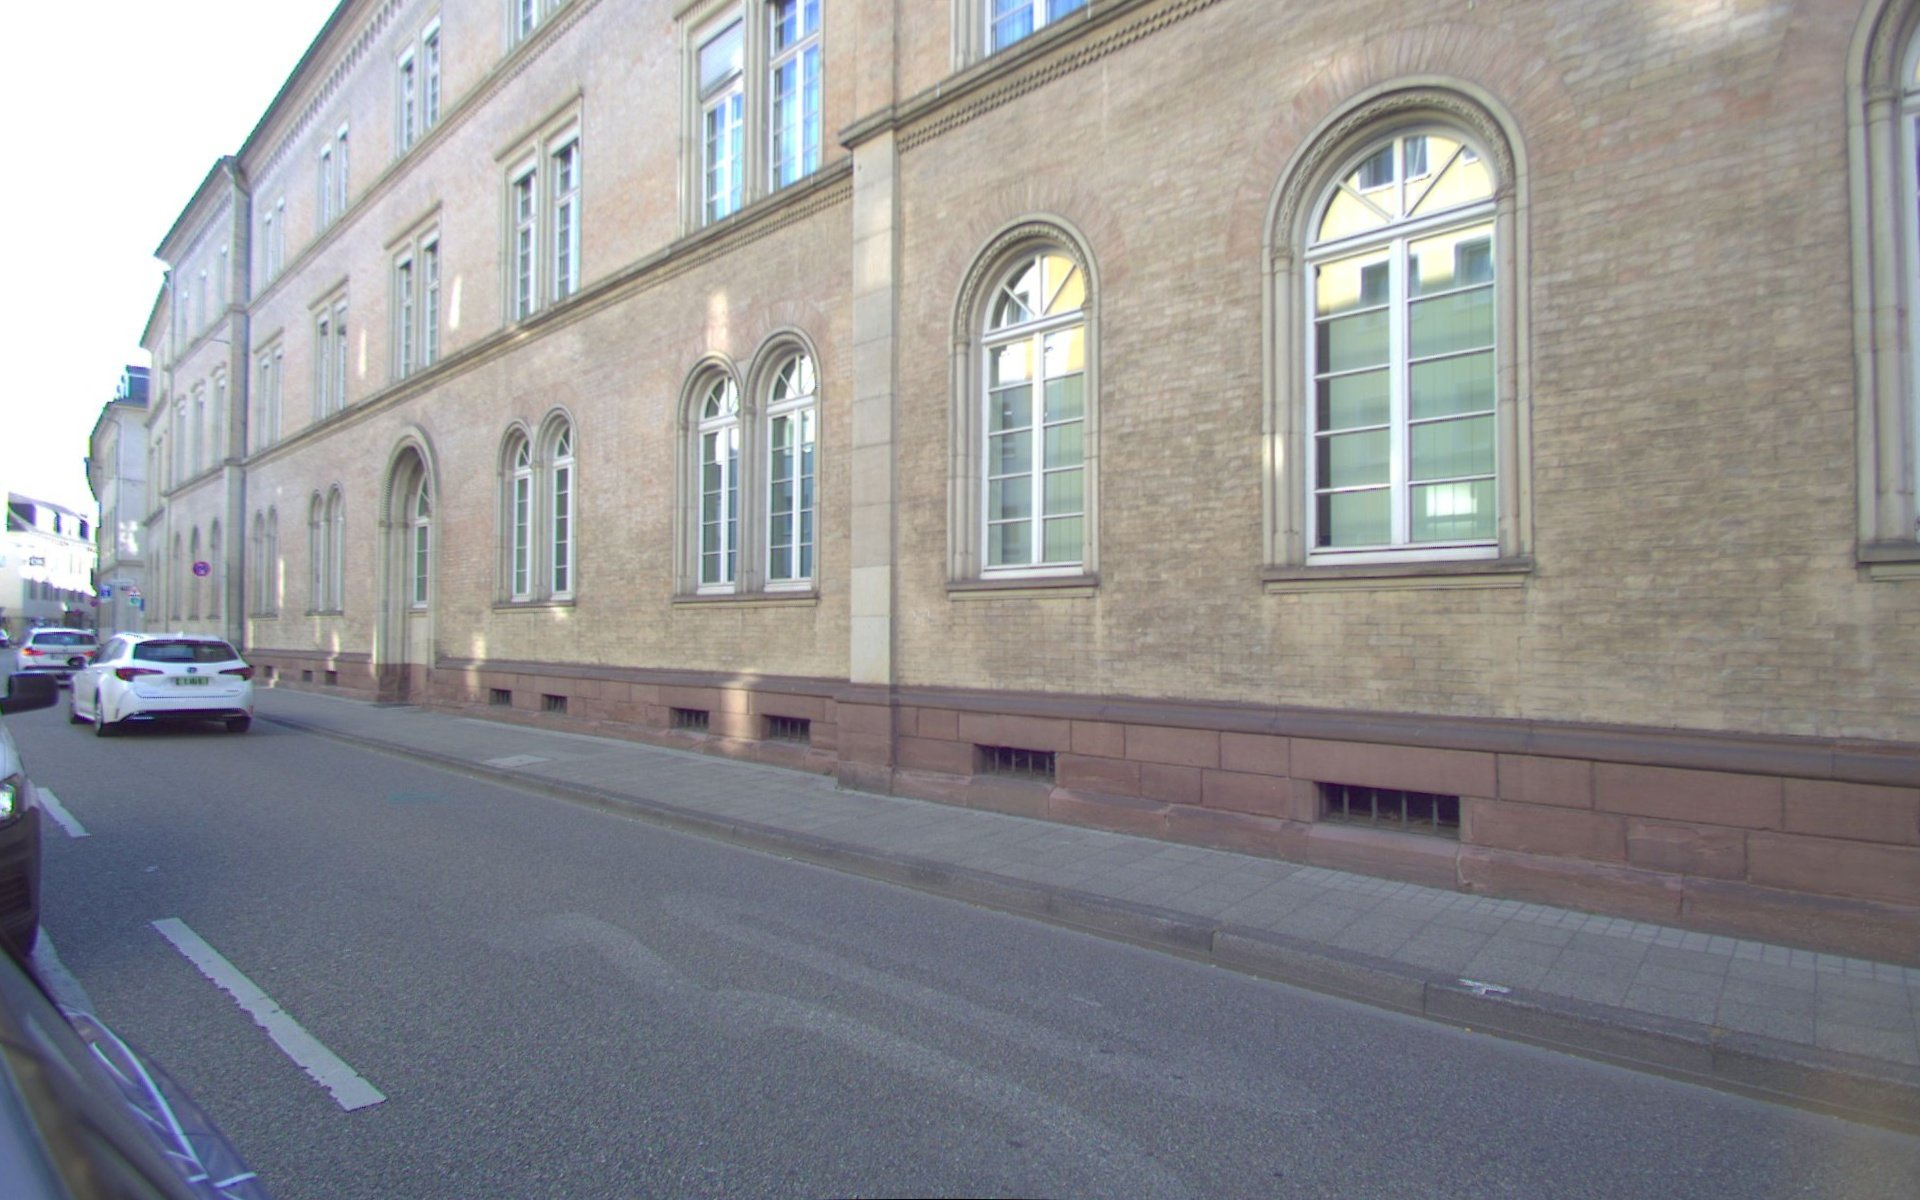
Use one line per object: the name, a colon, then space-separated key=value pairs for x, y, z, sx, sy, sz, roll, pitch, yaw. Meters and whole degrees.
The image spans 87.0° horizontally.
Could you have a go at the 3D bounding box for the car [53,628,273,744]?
car: x=-12.148 y=1.211 z=15.311 sx=4.545 sy=1.487 sz=1.866 roll=-1 pitch=-4 yaw=43

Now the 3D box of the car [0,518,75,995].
car: x=-6.185 y=0.651 z=5.165 sx=5.338 sy=1.850 sz=1.795 roll=-2 pitch=-3 yaw=41

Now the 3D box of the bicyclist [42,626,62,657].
bicyclist: x=-47.448 y=2.154 z=52.894 sx=0.642 sy=1.579 sz=0.961 roll=5 pitch=-5 yaw=-44

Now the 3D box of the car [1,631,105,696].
car: x=-24.030 y=1.648 z=26.760 sx=4.276 sy=1.595 sz=1.666 roll=-2 pitch=-5 yaw=44

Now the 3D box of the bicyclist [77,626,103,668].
bicyclist: x=-30.206 y=1.625 z=35.136 sx=0.579 sy=1.454 sz=0.596 roll=-2 pitch=-3 yaw=45

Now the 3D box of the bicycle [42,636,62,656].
bicycle: x=-47.451 y=2.382 z=52.893 sx=0.642 sy=1.014 sz=1.808 roll=5 pitch=-5 yaw=-44

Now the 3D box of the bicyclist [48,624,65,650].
bicyclist: x=-53.220 y=2.186 z=59.598 sx=0.642 sy=1.520 sz=1.113 roll=5 pitch=-5 yaw=-41
